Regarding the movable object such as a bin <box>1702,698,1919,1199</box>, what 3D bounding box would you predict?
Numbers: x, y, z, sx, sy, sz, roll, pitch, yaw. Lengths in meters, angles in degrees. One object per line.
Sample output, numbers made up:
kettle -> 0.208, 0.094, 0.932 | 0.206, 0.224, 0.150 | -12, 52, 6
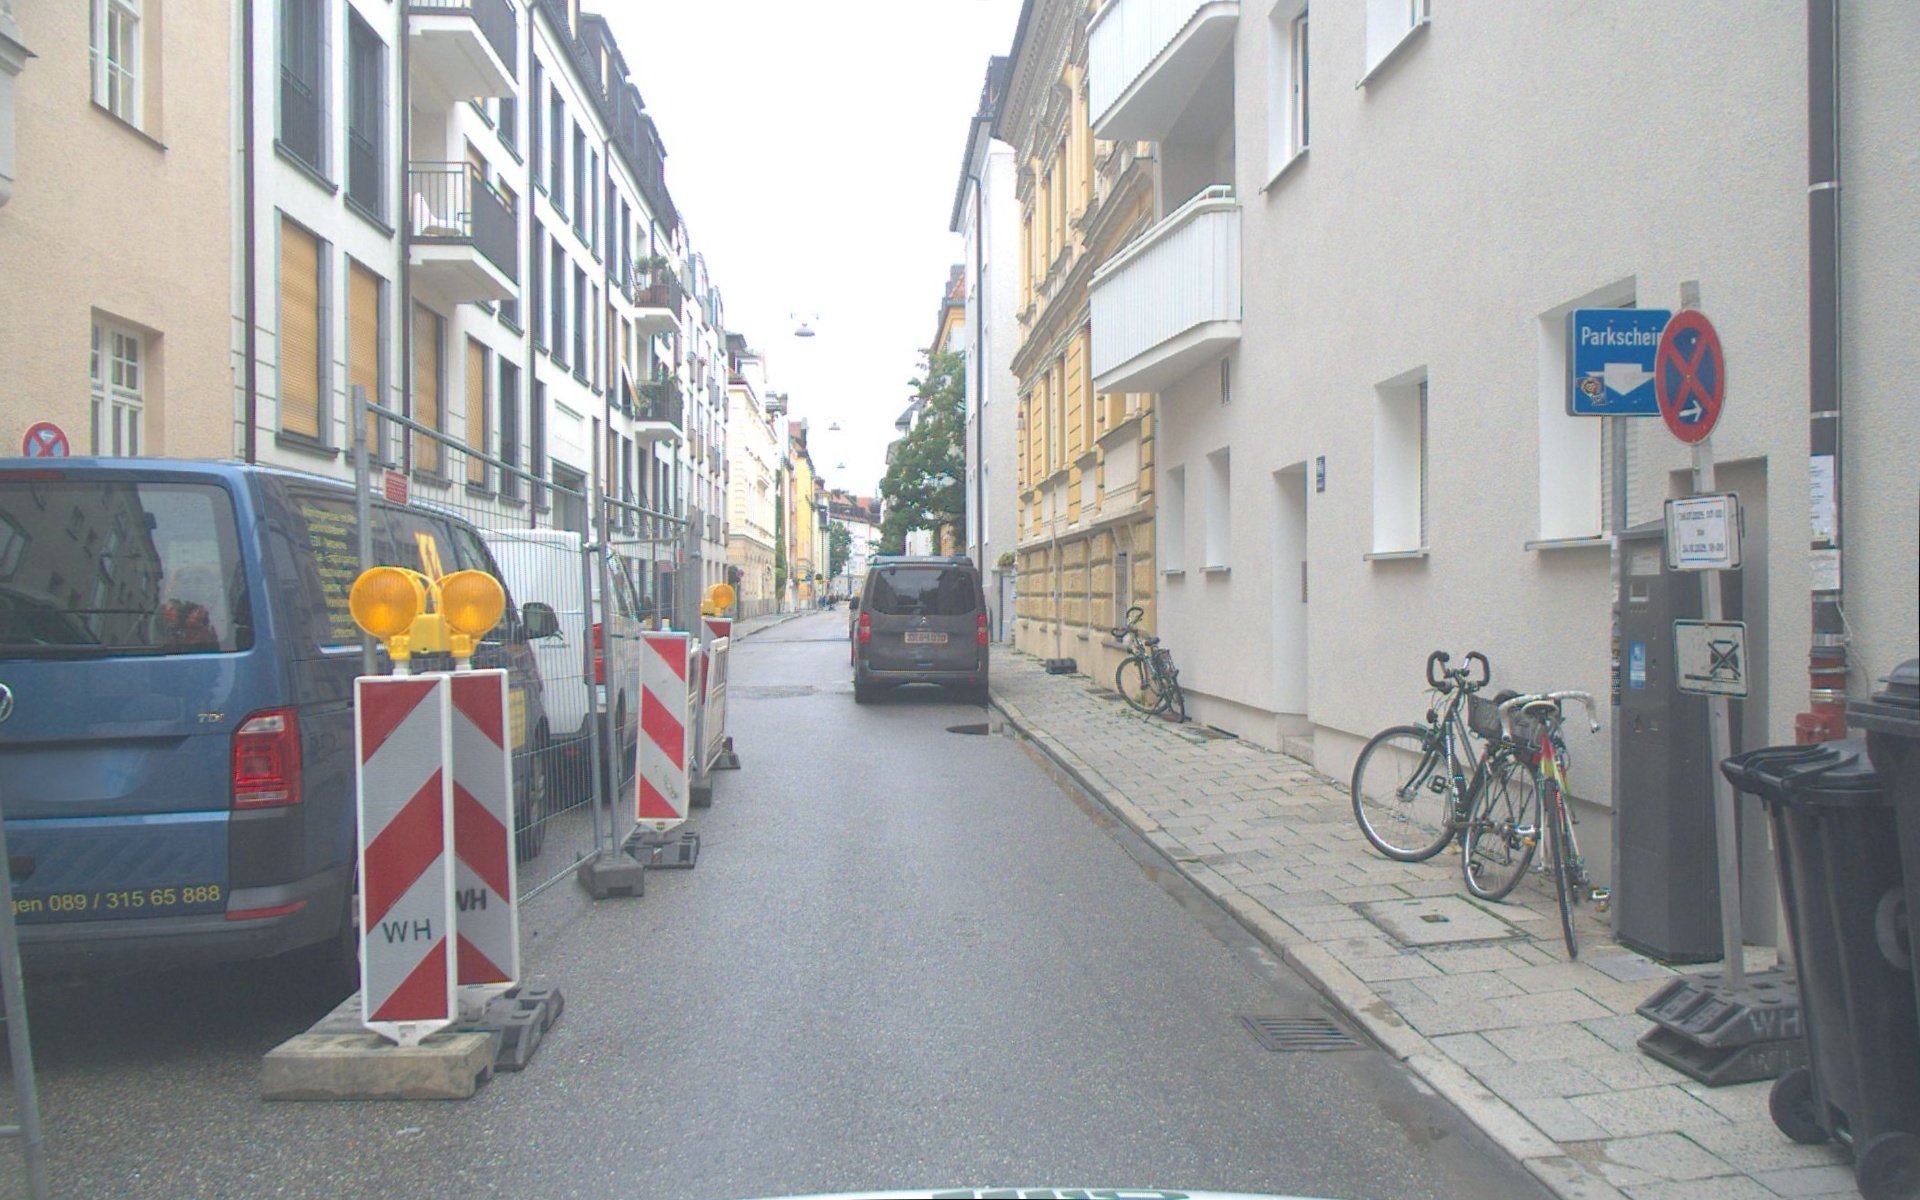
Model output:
movable object such as a bin -> 2.643, 0.829, 4.132 | 1.186, 1.114, 0.790 | -4, 0, 4

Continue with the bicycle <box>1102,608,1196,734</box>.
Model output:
bicycle -> 1.965, 0.709, 17.408 | 0.625, 1.173, 1.914 | -3, 1, -3

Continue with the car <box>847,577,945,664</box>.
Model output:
car -> -1.381, 0.375, 34.126 | 1.857, 1.670, 4.318 | 0, 0, -4

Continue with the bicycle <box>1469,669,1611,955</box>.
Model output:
bicycle -> 2.454, 0.850, 7.084 | 0.274, 1.009, 1.435 | -3, 0, 9

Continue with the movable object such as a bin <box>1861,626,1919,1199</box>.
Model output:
movable object such as a bin -> 2.603, 0.719, 3.152 | 1.102, 1.369, 1.172 | -4, 0, 4

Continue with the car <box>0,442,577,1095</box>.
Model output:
car -> -3.134, 0.512, 7.687 | 1.693, 1.930, 5.504 | -2, 0, -4

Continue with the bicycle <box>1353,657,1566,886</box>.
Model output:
bicycle -> 2.507, 0.827, 8.430 | 0.397, 1.009, 1.325 | -3, 0, -12

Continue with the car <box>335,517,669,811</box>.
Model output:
car -> -3.476, 0.420, 13.516 | 1.868, 1.930, 5.081 | 0, 0, -7

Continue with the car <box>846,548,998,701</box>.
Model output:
car -> -0.653, 0.311, 24.072 | 1.954, 1.965, 4.656 | 1, 0, -4
